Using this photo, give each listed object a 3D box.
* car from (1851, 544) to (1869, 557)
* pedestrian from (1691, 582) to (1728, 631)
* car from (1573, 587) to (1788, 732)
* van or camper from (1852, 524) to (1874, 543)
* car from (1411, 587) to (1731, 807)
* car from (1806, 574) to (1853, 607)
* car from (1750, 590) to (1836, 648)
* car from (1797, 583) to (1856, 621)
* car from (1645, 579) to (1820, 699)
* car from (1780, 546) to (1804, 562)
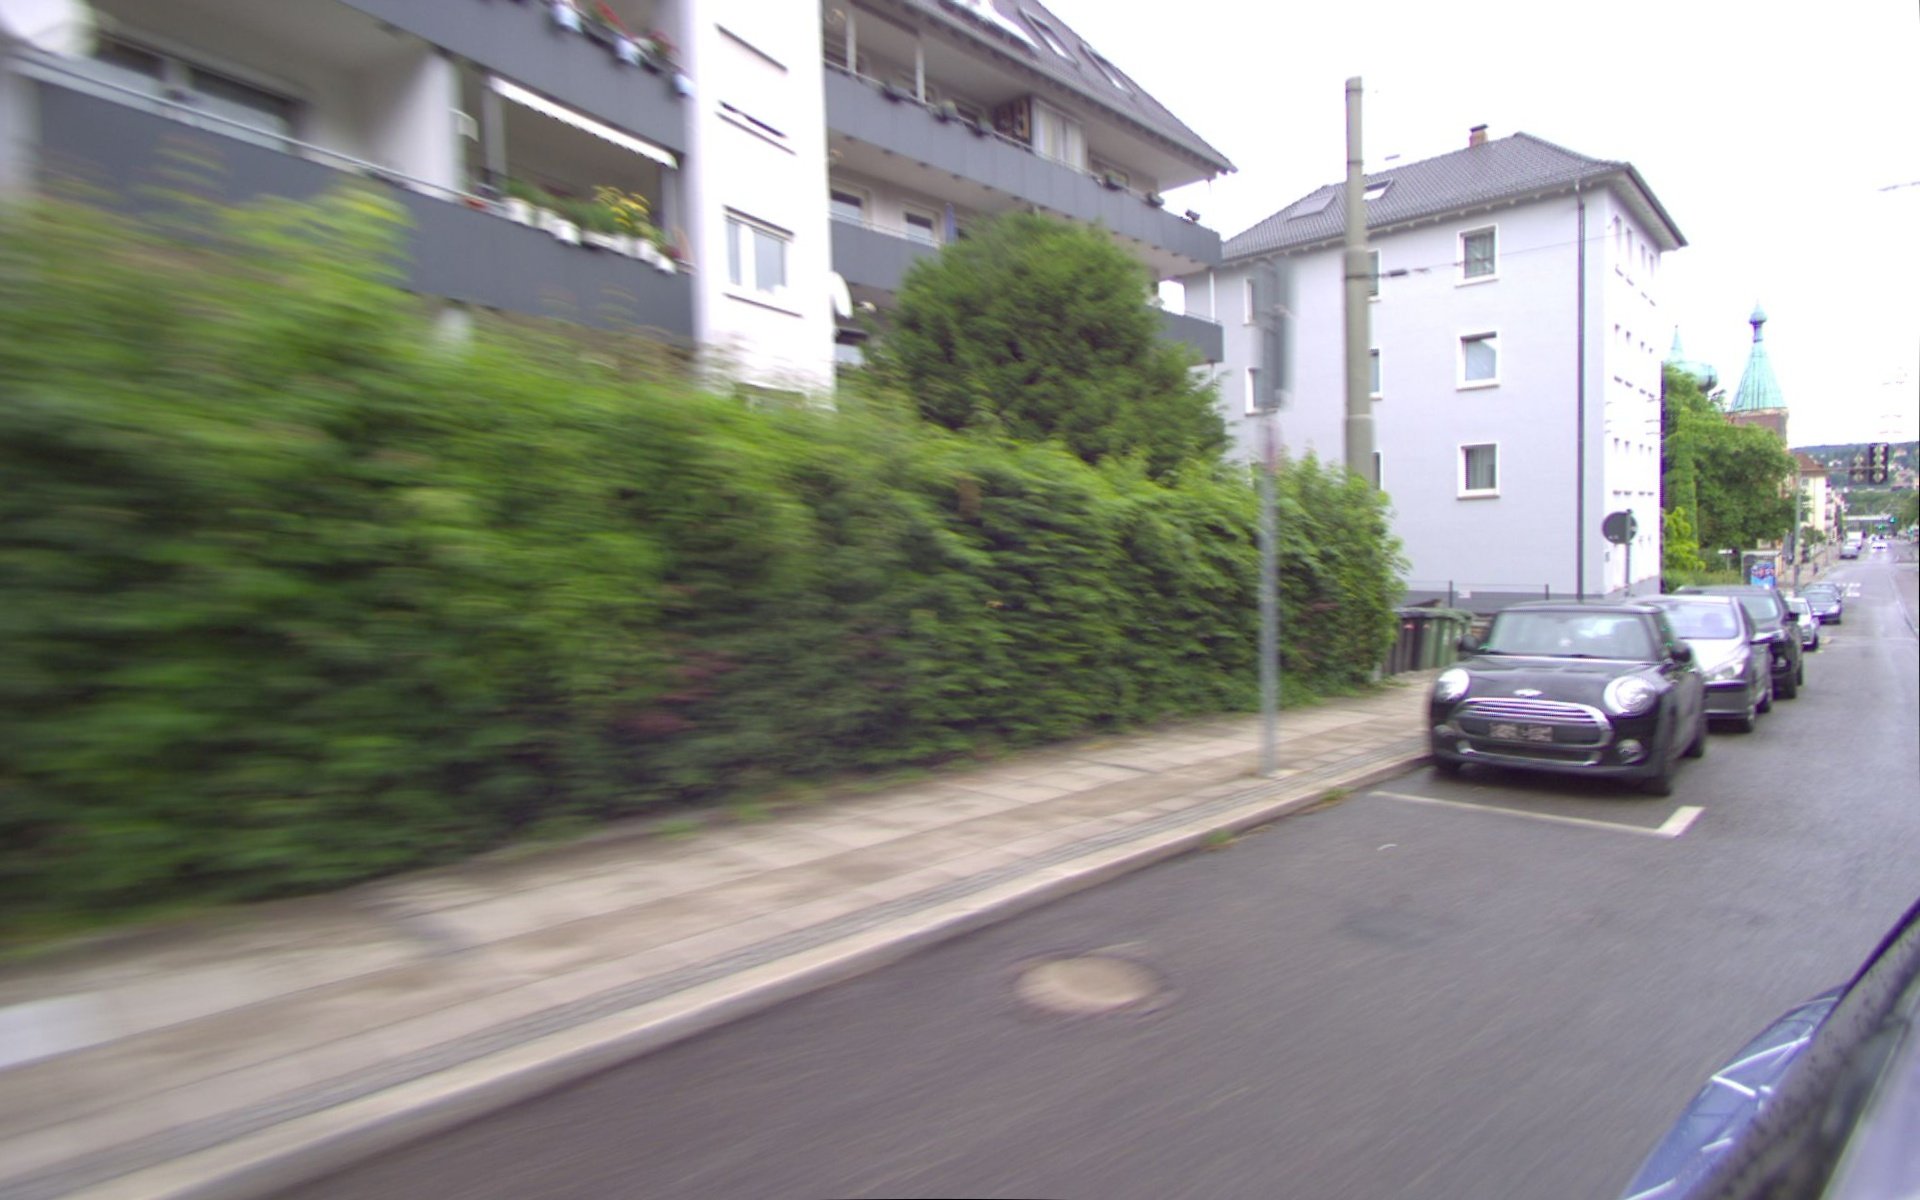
[{"bbox_3d":[121.453,-6.633,136.574,1.729,1.477,4.414,-1,4,42],"label":"car"},{"bbox_3d":[25.555,0.224,34.494,0.883,1.603,0.788,2,0,45],"label":"pedestrian"},{"bbox_3d":[8.991,0.602,12.477,1.703,1.446,4.187,-1,0,42],"label":"car"},{"bbox_3d":[166.804,-12.273,186.892,2.746,3.094,6.926,0,4,43],"label":"van or camper"},{"bbox_3d":[5.440,0.648,8.793,1.703,1.444,3.804,-1,0,42],"label":"car"},{"bbox_3d":[47.500,-0.538,55.267,1.856,1.505,4.578,-1,3,41],"label":"car"},{"bbox_3d":[23.491,0.493,28.504,1.703,1.451,4.040,-1,0,42],"label":"car"},{"bbox_3d":[39.679,0.061,46.379,1.937,1.482,4.147,-1,3,40],"label":"car"},{"bbox_3d":[12.634,0.518,16.430,1.904,1.662,4.619,-1,0,42],"label":"car"},{"bbox_3d":[96.636,-5.372,117.523,1.854,1.520,4.383,4,8,43],"label":"car"}]
